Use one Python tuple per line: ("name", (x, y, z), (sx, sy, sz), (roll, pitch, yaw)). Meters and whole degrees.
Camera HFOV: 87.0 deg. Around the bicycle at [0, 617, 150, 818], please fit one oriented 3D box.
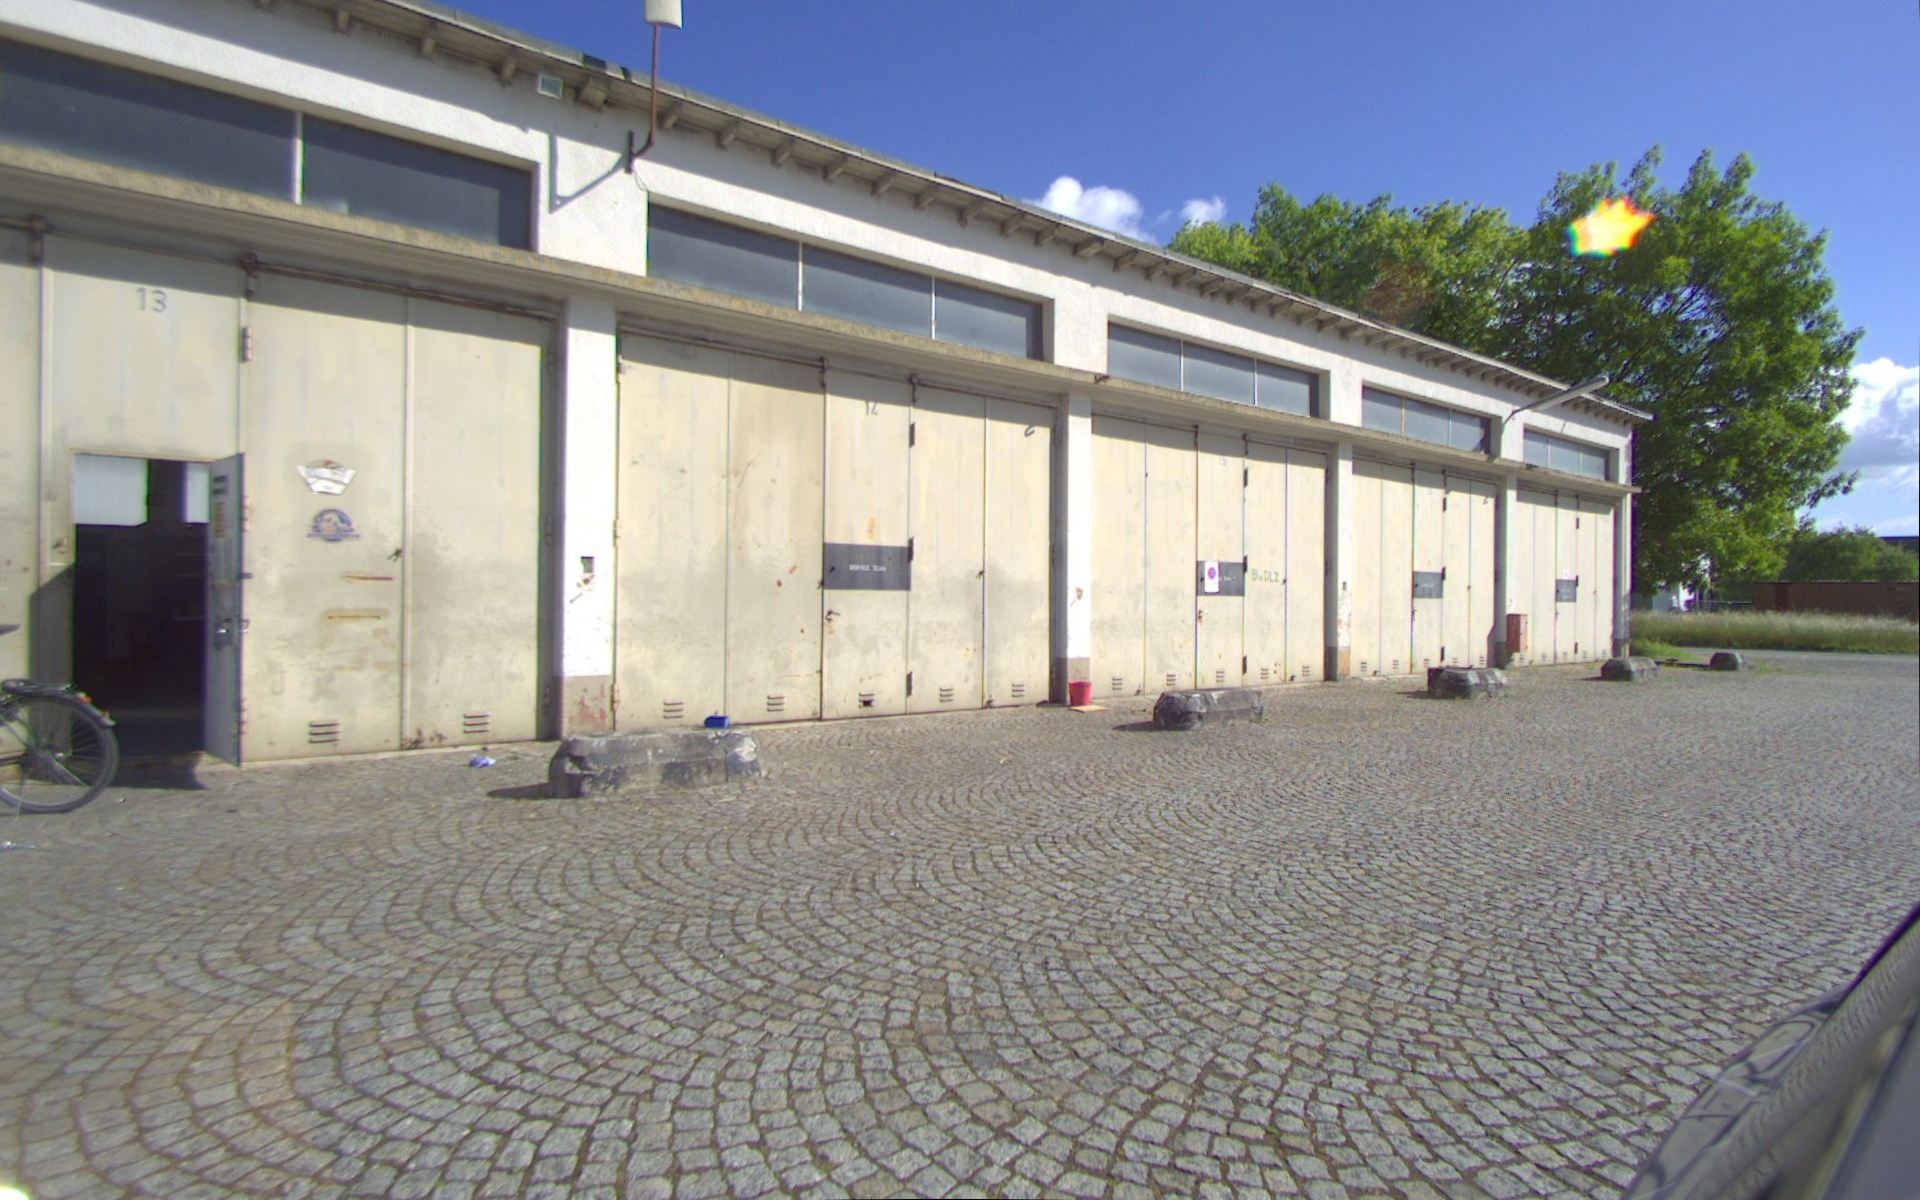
("bicycle", (-5.729, 0.651, 5.643), (1.786, 1.081, 0.668), (-1, -1, -26))
